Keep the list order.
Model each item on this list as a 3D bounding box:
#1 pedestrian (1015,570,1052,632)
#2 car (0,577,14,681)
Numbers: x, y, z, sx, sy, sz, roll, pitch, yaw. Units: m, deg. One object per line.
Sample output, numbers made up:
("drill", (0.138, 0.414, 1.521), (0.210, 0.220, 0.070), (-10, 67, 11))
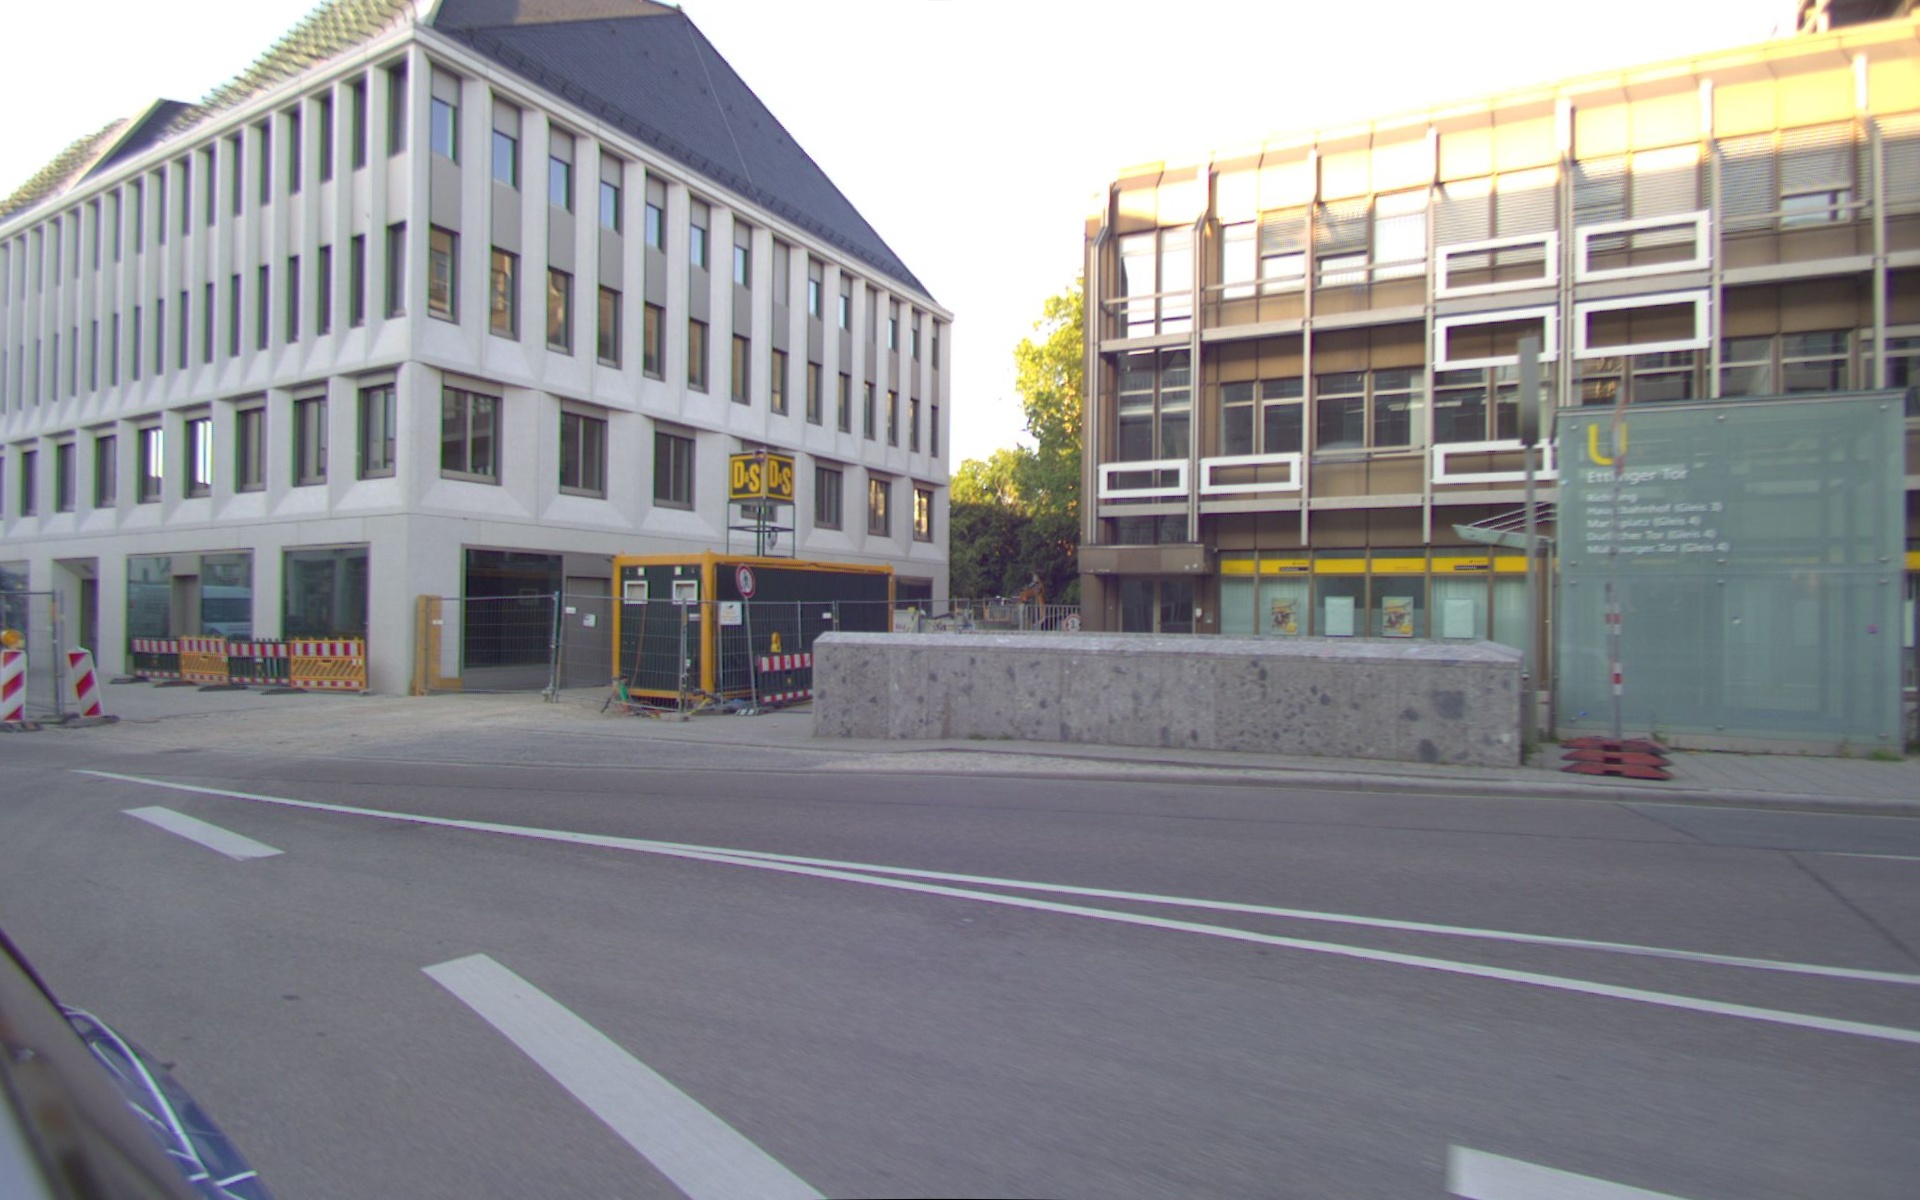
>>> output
("pedestrian", (2.459, 0.052, 33.901), (0.942, 2.029, 0.880), (-1, -2, 36))
("car", (-25.834, 0.676, 24.796), (5.974, 2.489, 2.159), (0, -1, 30))
